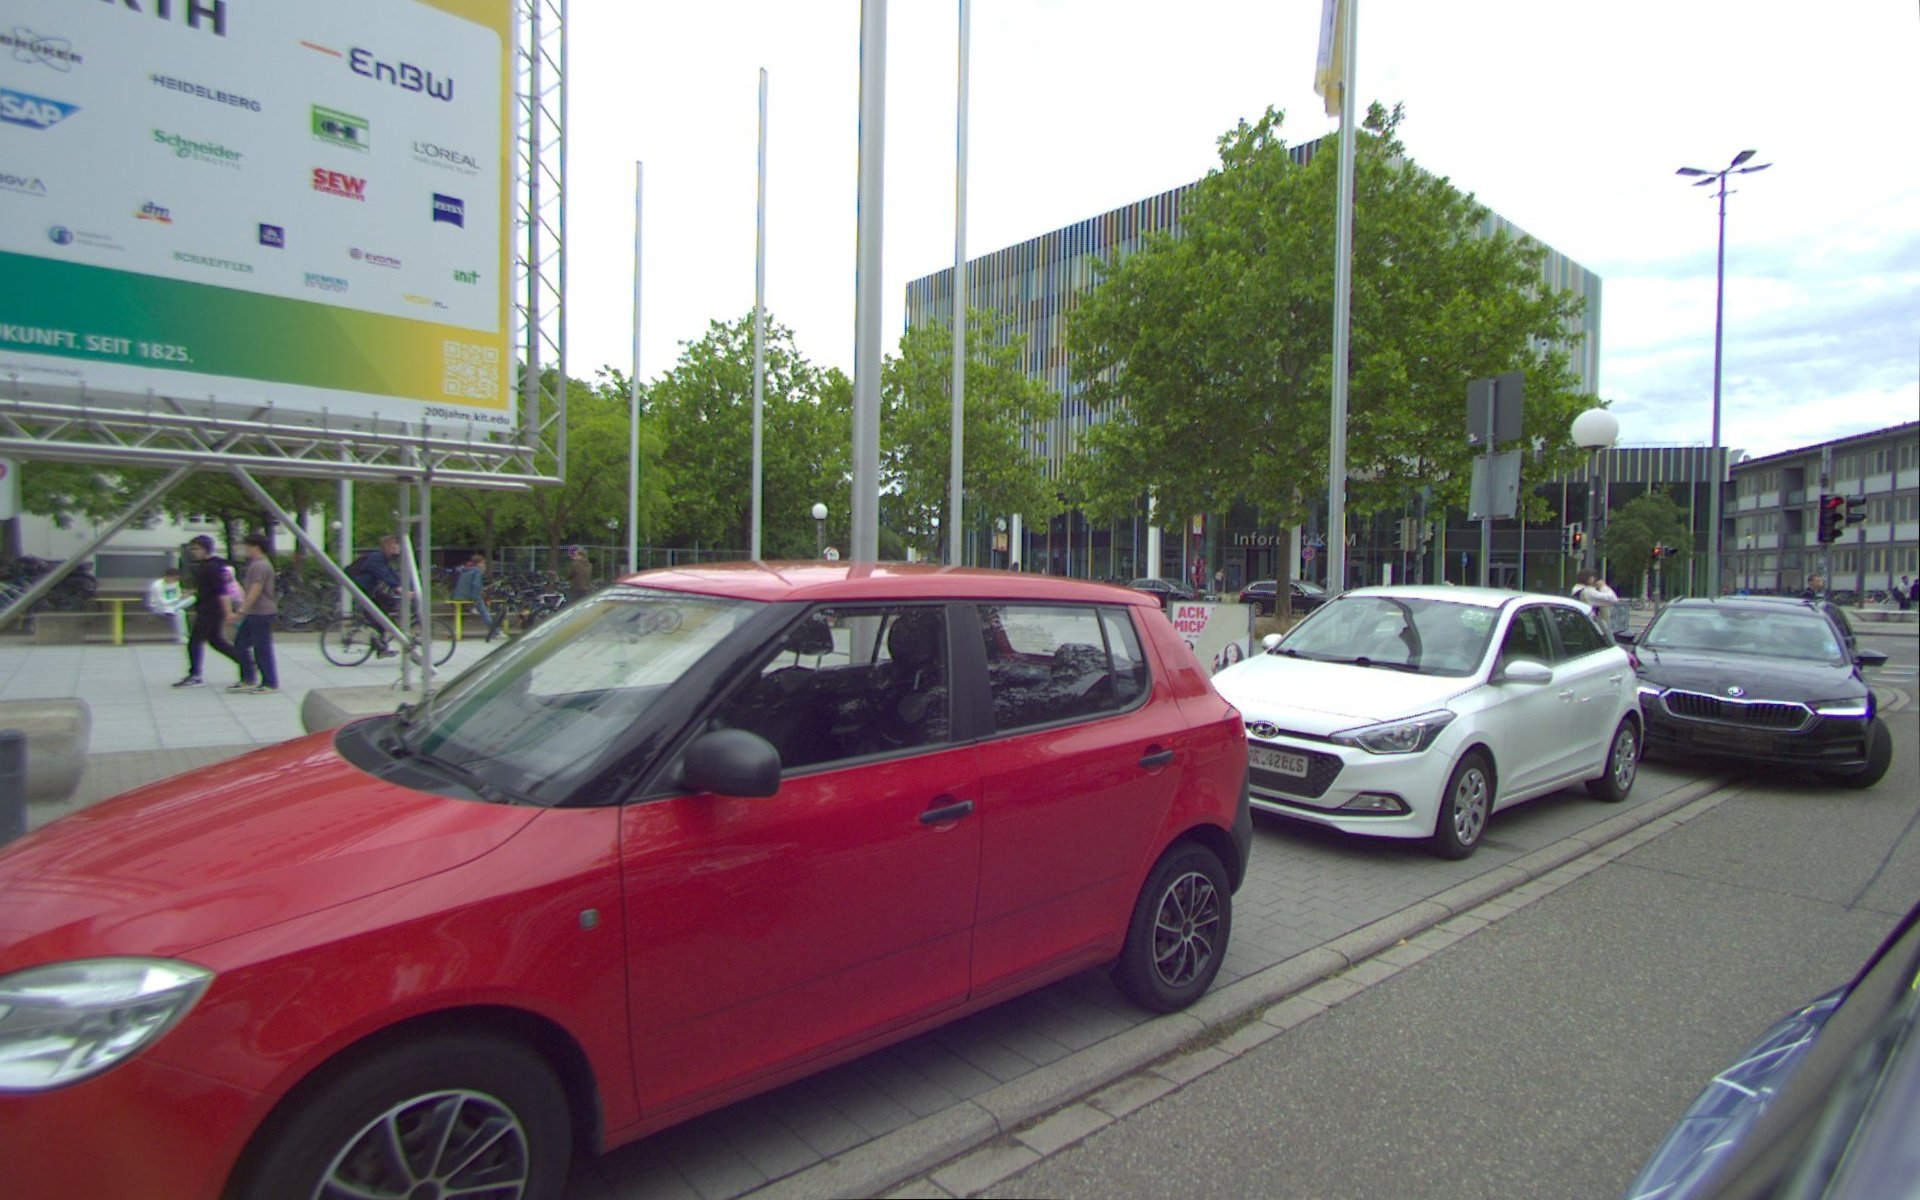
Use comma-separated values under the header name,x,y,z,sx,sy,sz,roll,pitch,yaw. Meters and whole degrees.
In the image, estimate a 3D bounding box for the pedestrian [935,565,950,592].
name,x,y,z,sx,sy,sz,roll,pitch,yaw
pedestrian,-1.180,-1.469,69.333,0.794,1.832,0.588,0,1,-36

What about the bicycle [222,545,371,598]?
name,x,y,z,sx,sy,sz,roll,pitch,yaw
bicycle,-16.718,-0.690,25.570,3.051,1.185,0.747,3,-2,-39

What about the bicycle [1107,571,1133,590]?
name,x,y,z,sx,sy,sz,roll,pitch,yaw
bicycle,11.865,-1.452,74.923,2.064,1.275,0.628,3,-2,-36

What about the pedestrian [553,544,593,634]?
name,x,y,z,sx,sy,sz,roll,pitch,yaw
pedestrian,-8.134,-0.240,21.279,0.660,1.856,0.511,1,1,0

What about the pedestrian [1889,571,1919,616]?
name,x,y,z,sx,sy,sz,roll,pitch,yaw
pedestrian,38.663,-0.258,41.195,0.832,1.810,0.893,1,1,7

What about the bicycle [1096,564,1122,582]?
name,x,y,z,sx,sy,sz,roll,pitch,yaw
bicycle,11.154,-2.028,75.817,2.064,1.275,0.628,3,-2,-36

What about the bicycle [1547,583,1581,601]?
name,x,y,z,sx,sy,sz,roll,pitch,yaw
bicycle,35.012,-0.475,58.673,0.474,0.947,2.014,0,2,-9

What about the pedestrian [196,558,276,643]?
name,x,y,z,sx,sy,sz,roll,pitch,yaw
pedestrian,-12.689,-0.013,17.738,0.848,1.438,0.955,2,2,38

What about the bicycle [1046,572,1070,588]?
name,x,y,z,sx,sy,sz,roll,pitch,yaw
bicycle,7.645,-1.568,79.173,2.068,1.274,0.627,0,2,-43

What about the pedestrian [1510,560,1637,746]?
name,x,y,z,sx,sy,sz,roll,pitch,yaw
pedestrian,6.287,0.500,10.389,0.805,1.809,0.795,0,1,-29

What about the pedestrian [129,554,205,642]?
name,x,y,z,sx,sy,sz,roll,pitch,yaw
pedestrian,-13.215,-0.052,16.872,0.664,1.430,0.765,1,1,18

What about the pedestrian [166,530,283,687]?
name,x,y,z,sx,sy,sz,roll,pitch,yaw
pedestrian,-8.584,0.087,11.849,0.680,1.734,0.910,3,1,-6

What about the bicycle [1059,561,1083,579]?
name,x,y,z,sx,sy,sz,roll,pitch,yaw
bicycle,8.632,-2.347,78.567,2.068,1.275,0.627,3,-2,-43

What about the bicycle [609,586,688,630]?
name,x,y,z,sx,sy,sz,roll,pitch,yaw
bicycle,-7.853,0.184,25.597,0.456,1.062,1.904,3,2,45

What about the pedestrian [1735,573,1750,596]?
name,x,y,z,sx,sy,sz,roll,pitch,yaw
pedestrian,62.536,-1.266,80.872,0.768,1.811,0.755,1,2,25

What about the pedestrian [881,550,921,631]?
name,x,y,z,sx,sy,sz,roll,pitch,yaw
pedestrian,-1.288,-0.208,22.101,0.645,1.737,0.585,-2,1,-35

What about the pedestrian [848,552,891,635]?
name,x,y,z,sx,sy,sz,roll,pitch,yaw
pedestrian,-1.925,-0.156,21.575,0.665,1.736,0.674,-2,3,-34

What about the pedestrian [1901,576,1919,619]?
name,x,y,z,sx,sy,sz,roll,pitch,yaw
pedestrian,37.636,-0.113,39.848,0.608,1.687,0.623,0,0,9

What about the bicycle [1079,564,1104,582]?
name,x,y,z,sx,sy,sz,roll,pitch,yaw
bicycle,10.005,-2.049,76.962,2.068,1.275,0.627,3,-2,-43

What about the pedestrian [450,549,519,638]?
name,x,y,z,sx,sy,sz,roll,pitch,yaw
pedestrian,-9.539,-0.147,20.308,0.846,1.725,0.957,3,2,34

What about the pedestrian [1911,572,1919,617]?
name,x,y,z,sx,sy,sz,roll,pitch,yaw
pedestrian,39.420,-0.213,41.023,0.832,1.810,0.893,1,1,7

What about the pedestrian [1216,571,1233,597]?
name,x,y,z,sx,sy,sz,roll,pitch,yaw
pedestrian,18.640,-1.106,71.317,0.788,1.810,0.762,-1,2,-39

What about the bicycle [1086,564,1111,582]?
name,x,y,z,sx,sy,sz,roll,pitch,yaw
bicycle,10.473,-2.041,76.490,2.068,1.275,0.627,3,-2,-43

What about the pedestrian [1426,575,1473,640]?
name,x,y,z,sx,sy,sz,roll,pitch,yaw
pedestrian,12.701,0.170,26.242,0.777,1.647,0.759,0,1,-27

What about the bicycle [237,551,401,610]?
name,x,y,z,sx,sy,sz,roll,pitch,yaw
bicycle,-14.516,-0.415,23.007,3.051,1.185,0.747,3,-2,-39

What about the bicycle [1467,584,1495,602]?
name,x,y,z,sx,sy,sz,roll,pitch,yaw
bicycle,30.498,-0.416,59.234,0.538,0.947,2.011,0,2,-1

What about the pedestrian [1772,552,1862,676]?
name,x,y,z,sx,sy,sz,roll,pitch,yaw
pedestrian,14.027,0.219,16.584,0.742,1.976,0.795,1,1,-14

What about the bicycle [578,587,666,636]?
name,x,y,z,sx,sy,sz,roll,pitch,yaw
bicycle,-7.778,0.257,23.344,0.456,1.062,1.904,3,2,45

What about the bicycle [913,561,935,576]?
name,x,y,z,sx,sy,sz,roll,pitch,yaw
bicycle,-3.285,-2.871,91.850,2.068,1.275,0.627,3,-2,-43

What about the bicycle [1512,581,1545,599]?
name,x,y,z,sx,sy,sz,roll,pitch,yaw
bicycle,32.864,-0.594,58.534,0.474,0.947,2.014,0,2,-9

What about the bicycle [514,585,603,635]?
name,x,y,z,sx,sy,sz,roll,pitch,yaw
bicycle,-8.923,0.208,22.574,0.454,1.062,1.911,2,2,35

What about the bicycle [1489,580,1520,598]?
name,x,y,z,sx,sy,sz,roll,pitch,yaw
bicycle,31.544,-0.636,58.639,0.474,0.947,2.014,0,2,-9

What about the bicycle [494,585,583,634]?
name,x,y,z,sx,sy,sz,roll,pitch,yaw
bicycle,-9.516,0.197,22.902,0.454,1.062,1.911,2,2,35

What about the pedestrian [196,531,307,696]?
name,x,y,z,sx,sy,sz,roll,pitch,yaw
pedestrian,-7.750,0.141,11.101,0.635,1.734,0.783,2,0,-4
